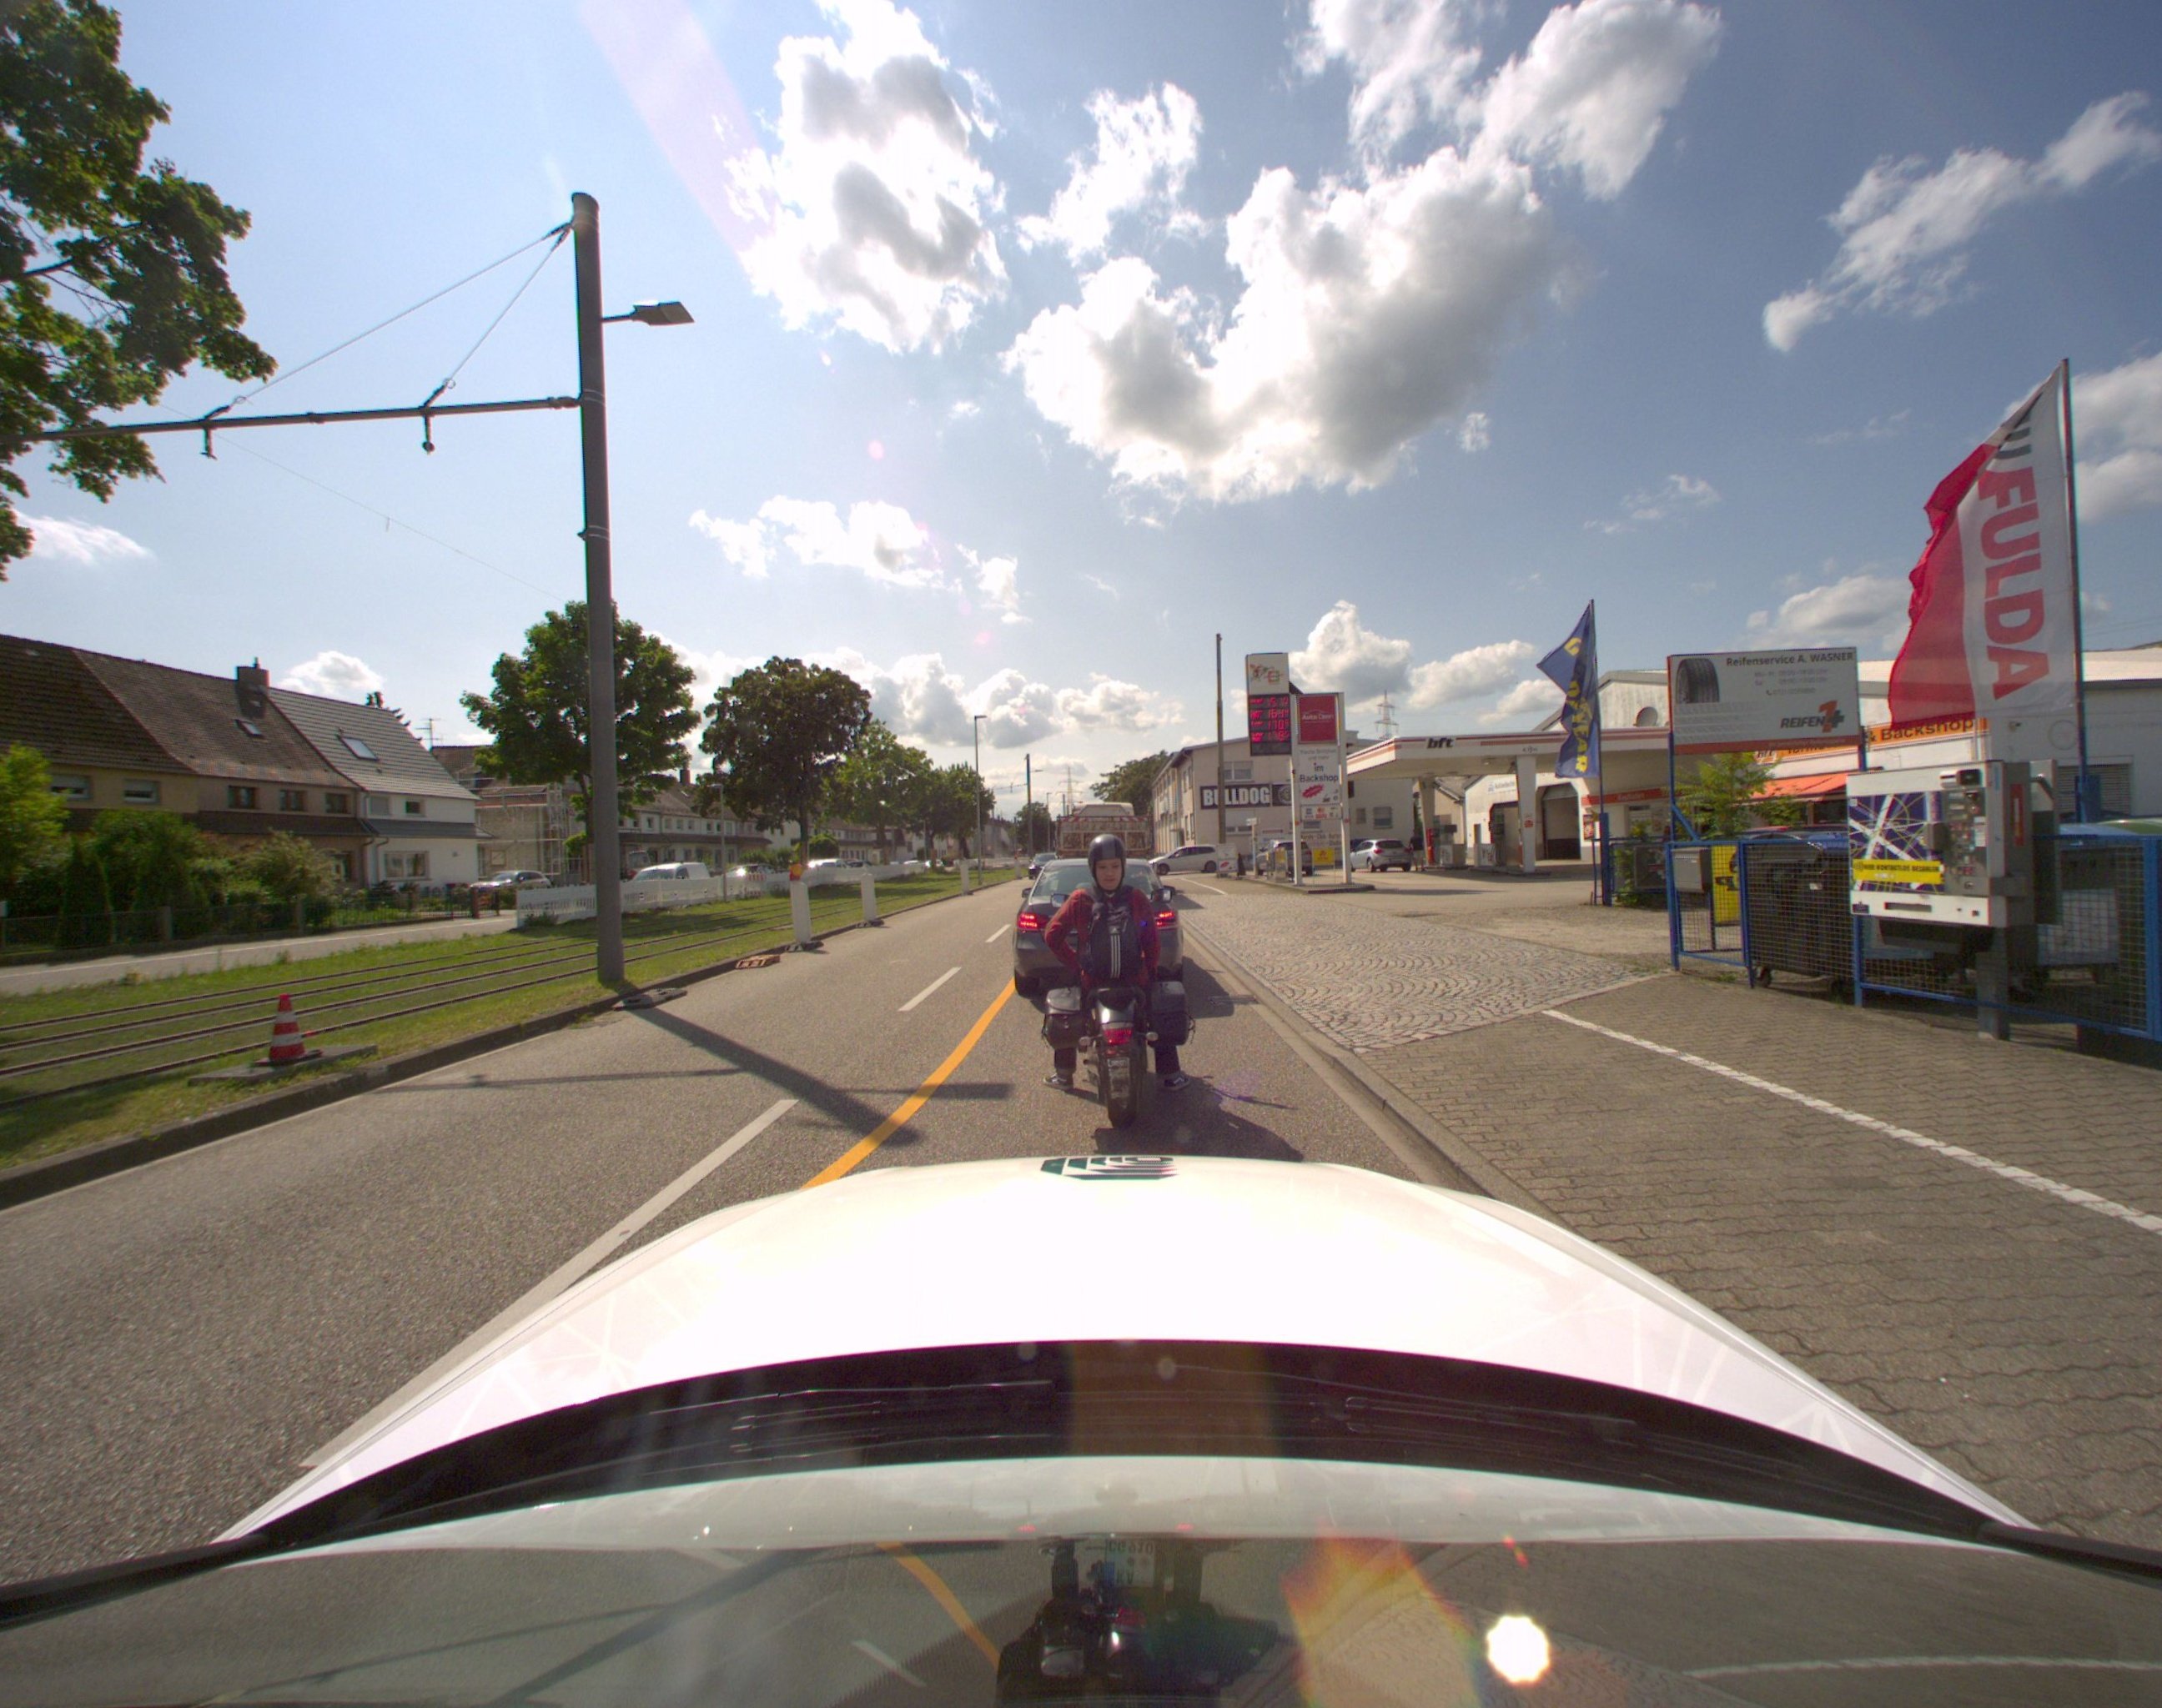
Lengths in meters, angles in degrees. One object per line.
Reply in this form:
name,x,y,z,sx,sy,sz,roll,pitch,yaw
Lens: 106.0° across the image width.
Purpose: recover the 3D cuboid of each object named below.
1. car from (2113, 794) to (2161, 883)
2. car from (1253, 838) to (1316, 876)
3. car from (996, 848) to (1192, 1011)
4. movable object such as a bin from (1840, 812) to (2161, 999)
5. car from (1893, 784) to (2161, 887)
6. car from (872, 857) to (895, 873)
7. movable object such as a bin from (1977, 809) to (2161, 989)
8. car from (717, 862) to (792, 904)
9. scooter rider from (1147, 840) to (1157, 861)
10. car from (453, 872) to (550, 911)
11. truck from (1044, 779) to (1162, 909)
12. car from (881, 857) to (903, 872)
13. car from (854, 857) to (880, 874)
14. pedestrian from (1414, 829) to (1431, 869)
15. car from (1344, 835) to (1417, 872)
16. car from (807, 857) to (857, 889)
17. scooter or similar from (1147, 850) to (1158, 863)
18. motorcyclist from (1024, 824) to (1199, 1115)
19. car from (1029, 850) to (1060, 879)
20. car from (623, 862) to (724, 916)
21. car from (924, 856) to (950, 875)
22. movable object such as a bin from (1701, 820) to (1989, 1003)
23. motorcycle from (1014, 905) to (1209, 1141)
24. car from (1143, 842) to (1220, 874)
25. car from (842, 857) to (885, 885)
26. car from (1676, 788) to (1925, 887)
car,26.349,-0.434,18.190,3.972,2.013,2.001,-2,0,1
car,9.064,0.119,36.581,1.826,1.536,4.009,-3,0,1
car,0.154,0.718,9.836,1.826,1.479,4.009,-3,0,1
movable object such as a bin,8.100,0.413,7.284,1.222,1.454,1.455,-2,0,0
car,21.246,-0.402,18.274,3.972,2.013,2.001,-2,0,1
car,-24.053,1.326,99.346,1.692,1.739,4.064,-2,0,2
movable object such as a bin,9.446,0.333,7.195,1.425,1.454,1.455,-2,0,0
car,-15.329,1.318,38.491,1.692,1.739,4.056,-2,0,2
scooter rider,6.267,-0.304,71.816,0.792,1.818,0.508,-2,0,1
car,-27.483,1.723,38.797,1.692,1.593,3.862,-2,0,2
truck,0.638,-0.286,25.609,2.960,3.304,8.407,-2,0,1
car,-24.382,1.334,105.369,1.692,1.739,4.064,-2,0,2
car,-24.468,1.292,93.143,1.692,1.739,4.064,-2,0,2
pedestrian,14.838,-0.212,35.393,0.628,1.683,0.626,-2,0,23
car,13.535,-0.026,37.074,1.826,1.479,4.009,-3,0,1
car,-15.043,1.103,49.395,1.692,1.739,3.862,-2,0,2
scooter or similar,6.291,0.224,71.801,0.792,1.144,1.520,-2,0,2
motorcyclist,0.191,0.650,5.200,0.966,1.633,1.215,-1,0,1
car,-2.172,0.613,49.242,1.675,1.624,4.118,-2,0,0
car,-15.422,1.271,31.061,1.692,1.817,3.862,-2,0,2
car,-14.141,1.142,80.071,1.692,1.739,3.862,-2,0,2
movable object such as a bin,6.821,0.467,7.409,1.222,1.454,1.455,-2,0,0
motorcycle,0.192,0.928,5.318,0.972,1.013,2.433,-1,0,2
car,5.762,0.224,47.053,4.101,1.624,1.682,-3,0,-7
car,-14.871,1.133,55.762,1.692,1.739,3.862,-2,0,2
car,16.598,-0.373,18.966,3.972,2.013,2.001,-2,0,1
